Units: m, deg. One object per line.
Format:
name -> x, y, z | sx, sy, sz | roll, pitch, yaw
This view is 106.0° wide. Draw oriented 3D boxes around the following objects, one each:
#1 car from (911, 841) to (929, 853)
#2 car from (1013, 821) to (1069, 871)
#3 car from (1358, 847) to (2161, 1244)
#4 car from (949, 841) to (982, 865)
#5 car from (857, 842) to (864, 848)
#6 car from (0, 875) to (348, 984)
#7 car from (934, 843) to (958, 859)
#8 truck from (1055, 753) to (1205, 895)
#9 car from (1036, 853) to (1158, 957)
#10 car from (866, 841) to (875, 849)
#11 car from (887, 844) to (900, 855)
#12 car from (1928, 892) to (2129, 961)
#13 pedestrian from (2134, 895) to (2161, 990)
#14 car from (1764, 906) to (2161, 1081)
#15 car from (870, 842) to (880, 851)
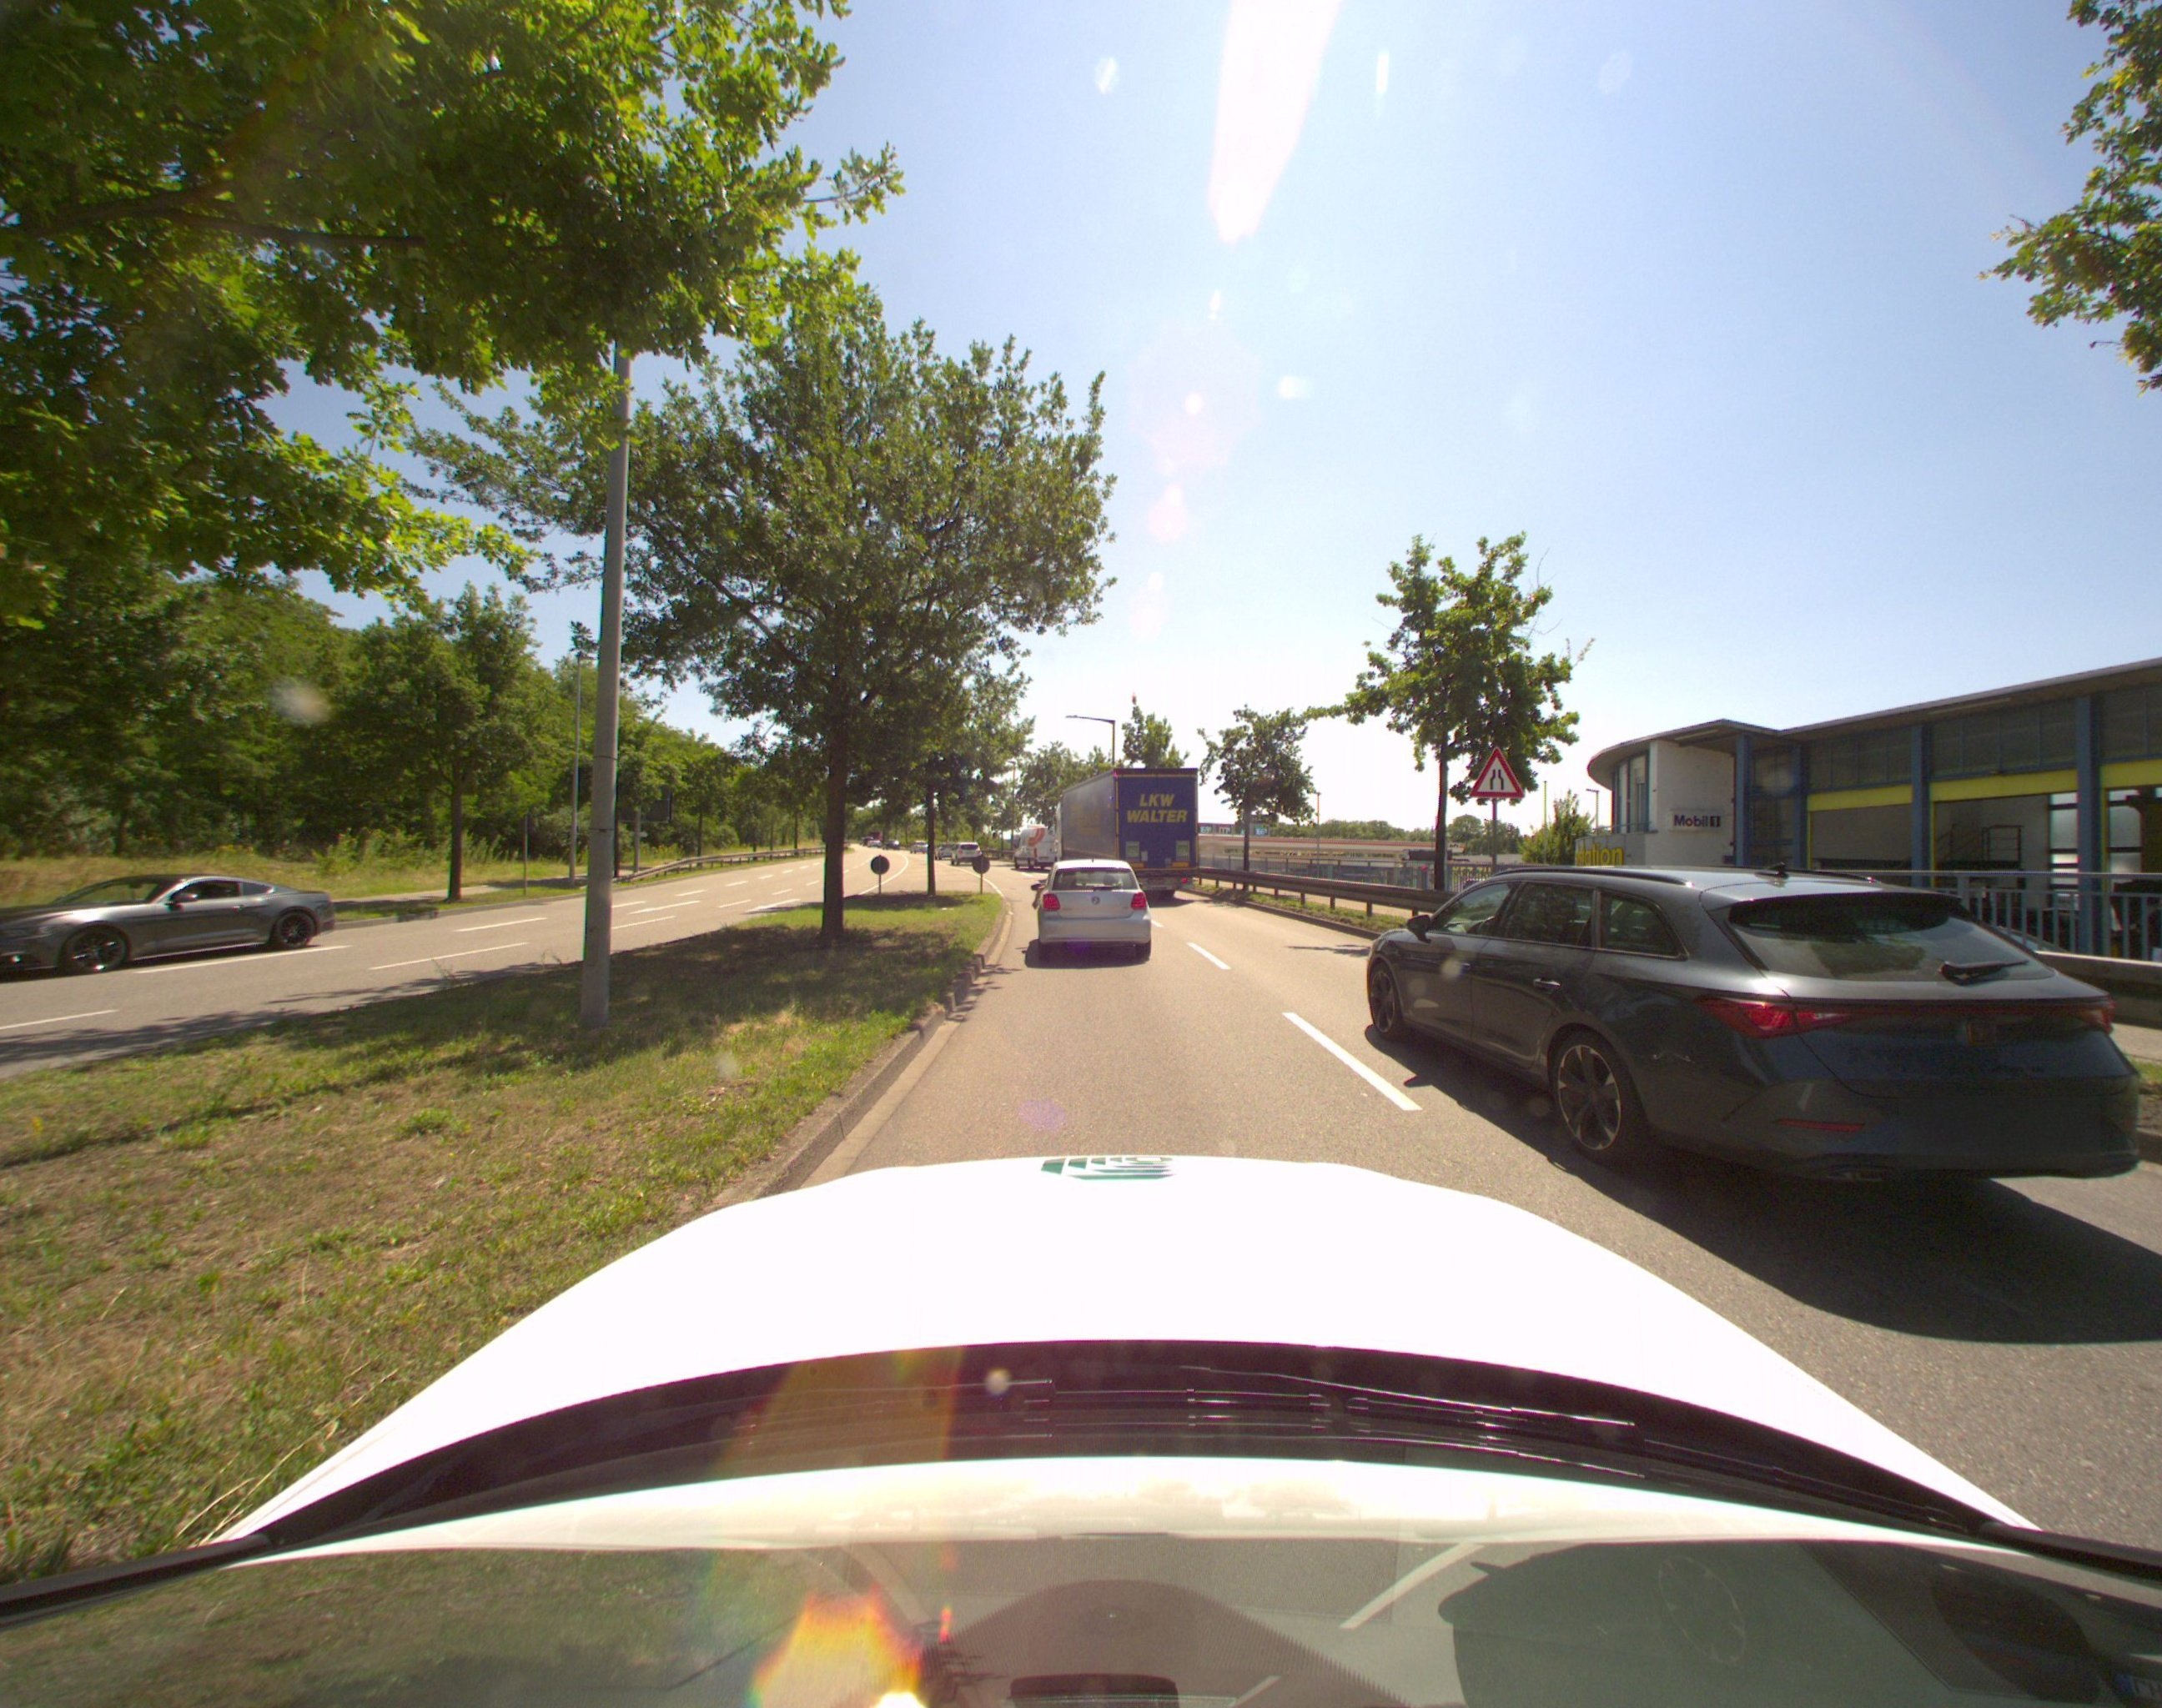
car -> -18.727, -0.761, 94.517 | 1.612, 1.360, 3.640 | 1, 0, -18
car -> -2.595, -0.508, 50.983 | 2.179, 2.900, 6.326 | 1, 1, -15
car -> 3.252, 0.740, 5.132 | 1.599, 1.456, 4.234 | 0, -1, 0
car -> -8.469, -0.024, 59.611 | 1.907, 1.718, 4.201 | 1, -1, -15
car -> -44.439, -1.765, 163.970 | 1.324, 1.139, 2.980 | 1, -1, -15
car -> -14.479, 1.025, 12.702 | 1.802, 1.333, 4.571 | 0, -1, 2
car -> -12.022, -0.275, 72.444 | 1.499, 1.360, 3.640 | 1, 0, -18
truck -> 1.219, -0.875, 32.459 | 2.831, 4.198, 16.428 | 0, 0, -8
car -> 0.131, 0.739, 13.104 | 1.643, 1.439, 3.531 | 0, -1, -4
car -> -36.046, -1.572, 139.364 | 1.419, 1.314, 3.321 | 1, -1, -14
car -> -25.856, -0.610, 112.474 | 1.667, 1.465, 3.563 | 1, -1, -14
car -> 24.665, 1.852, 21.270 | 3.663, 1.684, 1.647 | 0, -1, -7
pedestrian -> 19.696, 1.597, 14.781 | 0.520, 1.703, 0.488 | 0, -1, -1
car -> 10.856, 1.512, 10.019 | 1.627, 1.532, 3.899 | 0, -1, 0
car -> -31.927, -1.179, 126.089 | 1.459, 1.314, 3.620 | 1, -1, -14
